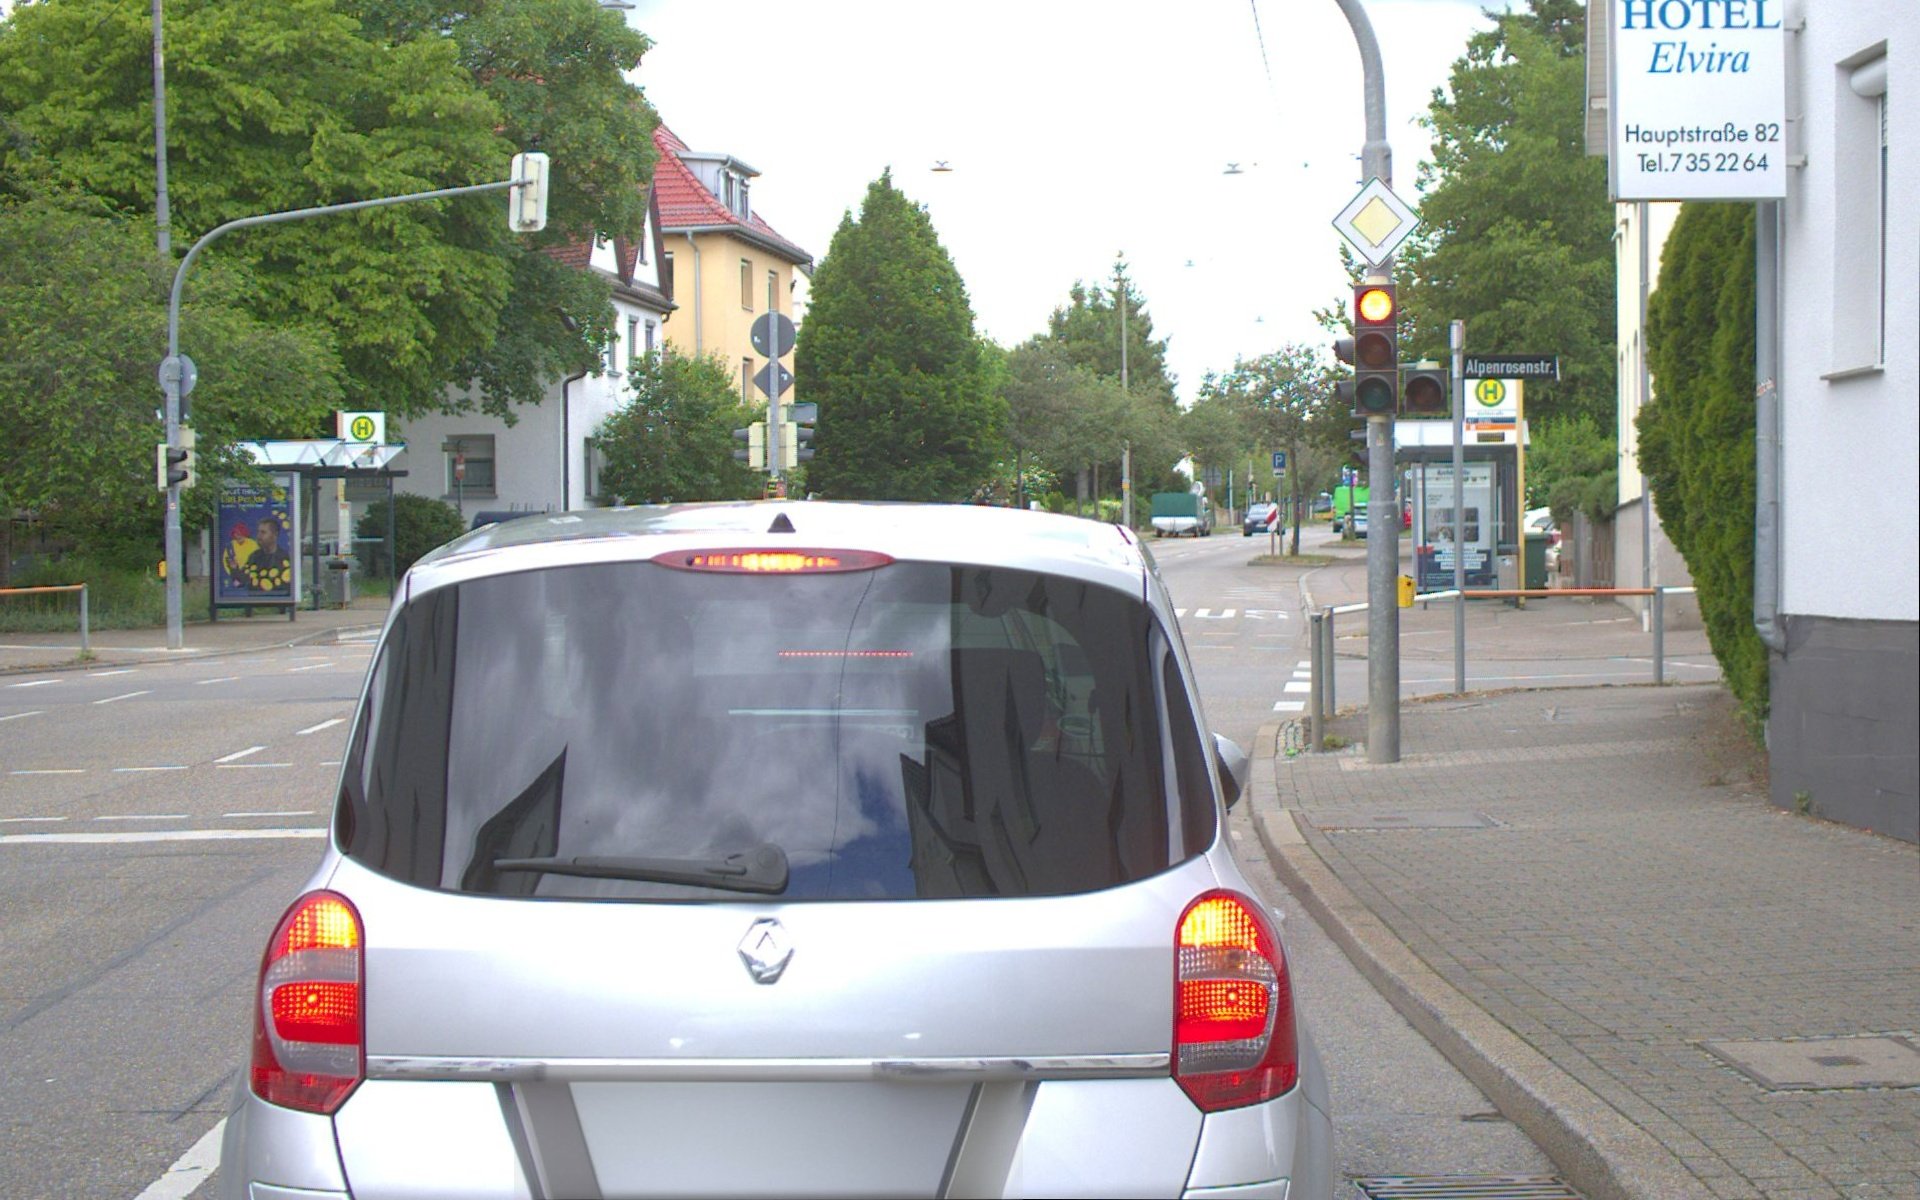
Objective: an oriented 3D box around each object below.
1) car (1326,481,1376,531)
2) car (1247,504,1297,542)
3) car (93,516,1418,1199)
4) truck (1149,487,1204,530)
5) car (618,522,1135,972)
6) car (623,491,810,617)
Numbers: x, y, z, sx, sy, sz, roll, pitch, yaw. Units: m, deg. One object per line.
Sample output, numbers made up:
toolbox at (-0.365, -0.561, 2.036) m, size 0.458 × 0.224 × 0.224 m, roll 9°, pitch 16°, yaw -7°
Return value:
car at (19.894, -4.757, 174.726) m, size 2.060 × 2.503 × 5.593 m, roll 1°, pitch 1°, yaw 11°
car at (14.403, -3.539, 158.675) m, size 1.858 × 1.742 × 3.998 m, roll 1°, pitch 1°, yaw 11°
car at (-0.308, 0.626, 6.575) m, size 1.755 × 1.525 × 4.000 m, roll 0°, pitch 1°, yaw -1°
truck at (10.498, -4.428, 166.501) m, size 2.102 × 2.007 × 5.745 m, roll 1°, pitch 1°, yaw 9°
car at (-0.318, 0.474, 13.630) m, size 1.755 × 1.525 × 3.797 m, roll 0°, pitch 1°, yaw -1°
car at (-3.782, -0.746, 54.187) m, size 1.927 × 1.767 × 3.999 m, roll -4°, pitch 1°, yaw 10°
